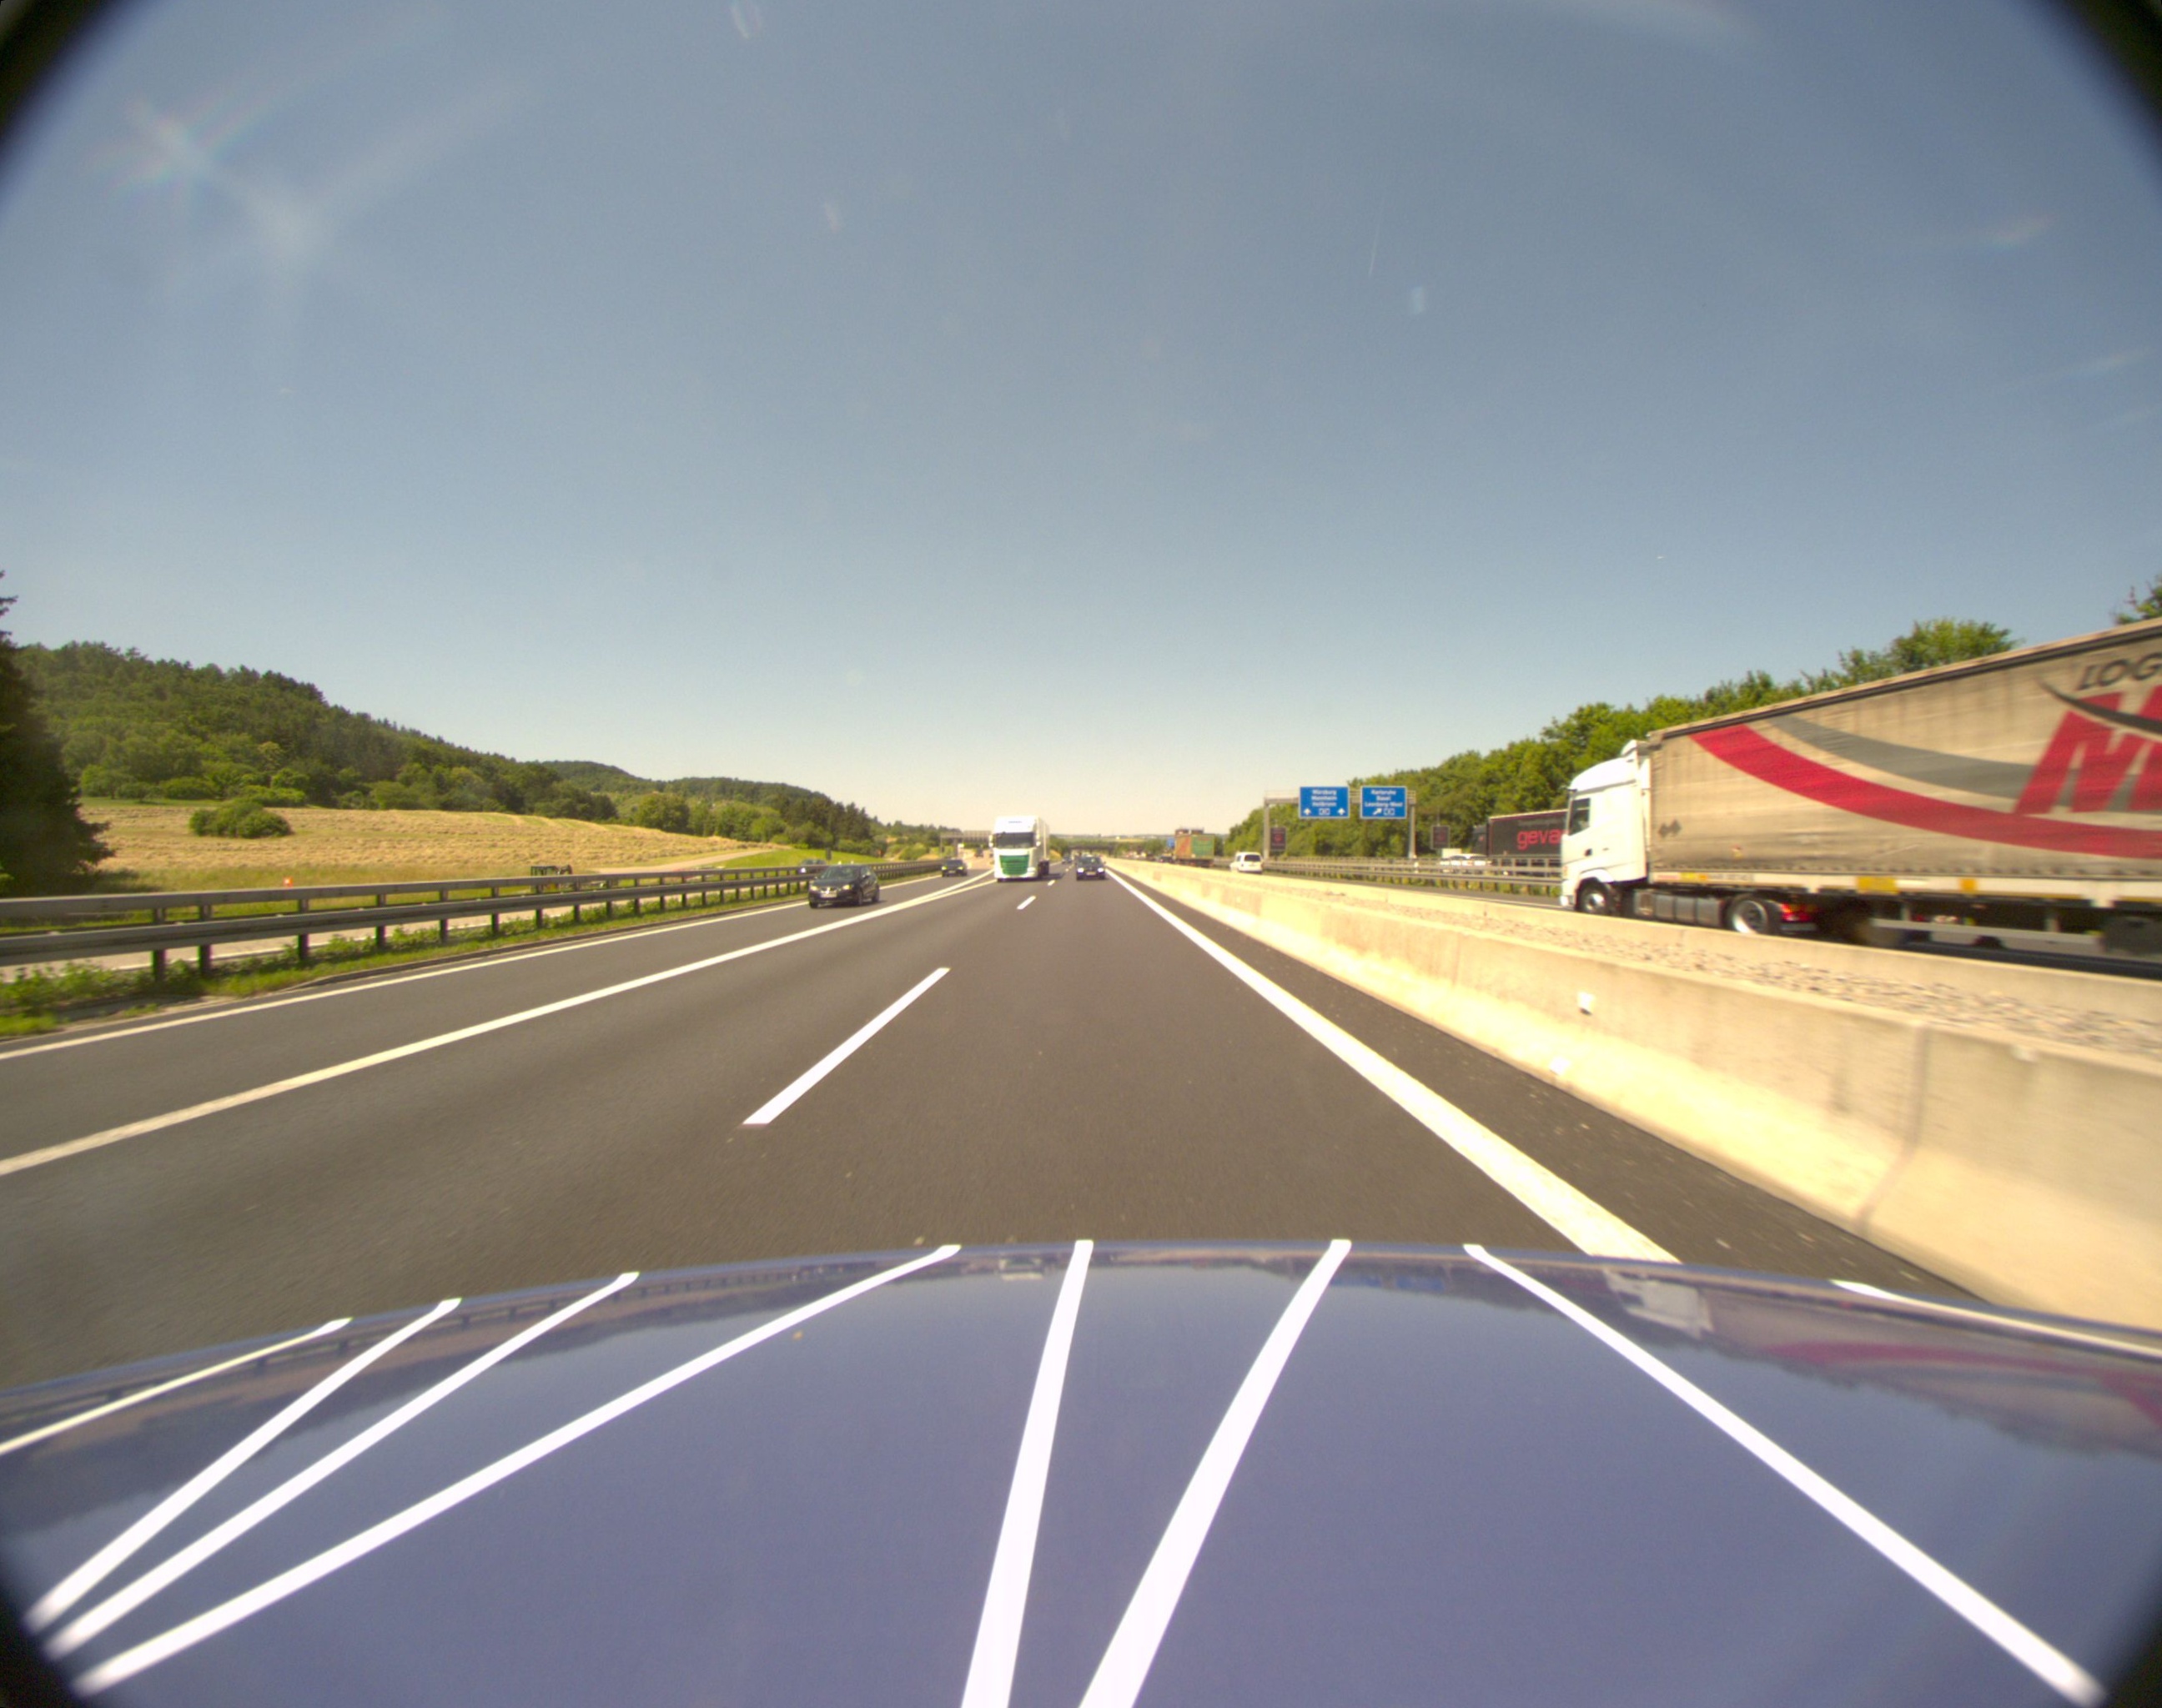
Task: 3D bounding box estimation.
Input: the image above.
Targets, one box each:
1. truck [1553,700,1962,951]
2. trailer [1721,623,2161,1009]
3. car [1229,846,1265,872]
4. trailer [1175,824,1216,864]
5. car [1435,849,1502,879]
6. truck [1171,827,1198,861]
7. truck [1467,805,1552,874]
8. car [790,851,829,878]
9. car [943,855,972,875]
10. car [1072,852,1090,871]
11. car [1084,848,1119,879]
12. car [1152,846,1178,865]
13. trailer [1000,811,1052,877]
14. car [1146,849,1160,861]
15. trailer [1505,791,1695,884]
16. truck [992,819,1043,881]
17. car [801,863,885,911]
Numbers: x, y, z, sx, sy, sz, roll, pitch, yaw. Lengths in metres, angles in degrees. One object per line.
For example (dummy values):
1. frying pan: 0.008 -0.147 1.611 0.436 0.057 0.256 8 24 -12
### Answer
1. truck: 12.769 -0.487 15.213 2.936 3.950 5.897 -2 1 1
2. trailer: 12.716 -0.430 7.387 2.917 4.022 12.062 -2 1 1
3. car: 12.812 0.353 58.941 1.746 1.816 4.903 -2 1 1
4. trailer: 13.307 -1.208 89.476 2.674 4.248 13.813 -2 1 0
5. car: 24.650 0.594 48.562 1.998 1.846 4.538 -1 0 1
6. truck: 13.360 -1.316 98.633 2.713 4.264 4.552 -2 1 0
7. truck: 28.497 -0.947 50.780 2.817 4.248 4.997 -2 1 0
8. car: -21.332 0.767 59.790 2.000 2.002 3.997 -2 1 -7
9. car: -10.172 0.904 62.685 1.892 1.464 3.865 -2 1 -4
10. car: 0.044 0.854 87.883 1.998 2.002 3.999 -2 1 0
11. car: 1.113 0.511 43.186 1.799 1.574 3.999 -2 1 0
12. car: 8.610 0.162 78.072 1.989 1.816 4.825 -2 1 -1
13. trailer: -3.824 -0.705 56.634 2.663 4.164 14.893 -2 0 0
14. car: 12.132 0.208 127.904 1.923 2.002 5.346 0 1 1
15. trailer: 28.346 -0.873 42.555 2.801 4.408 11.652 -2 1 1
16. truck: -3.845 -0.275 46.975 2.649 3.572 4.403 -2 1 0
17. car: -8.122 1.084 26.246 1.781 1.392 3.760 -2 1 -2
